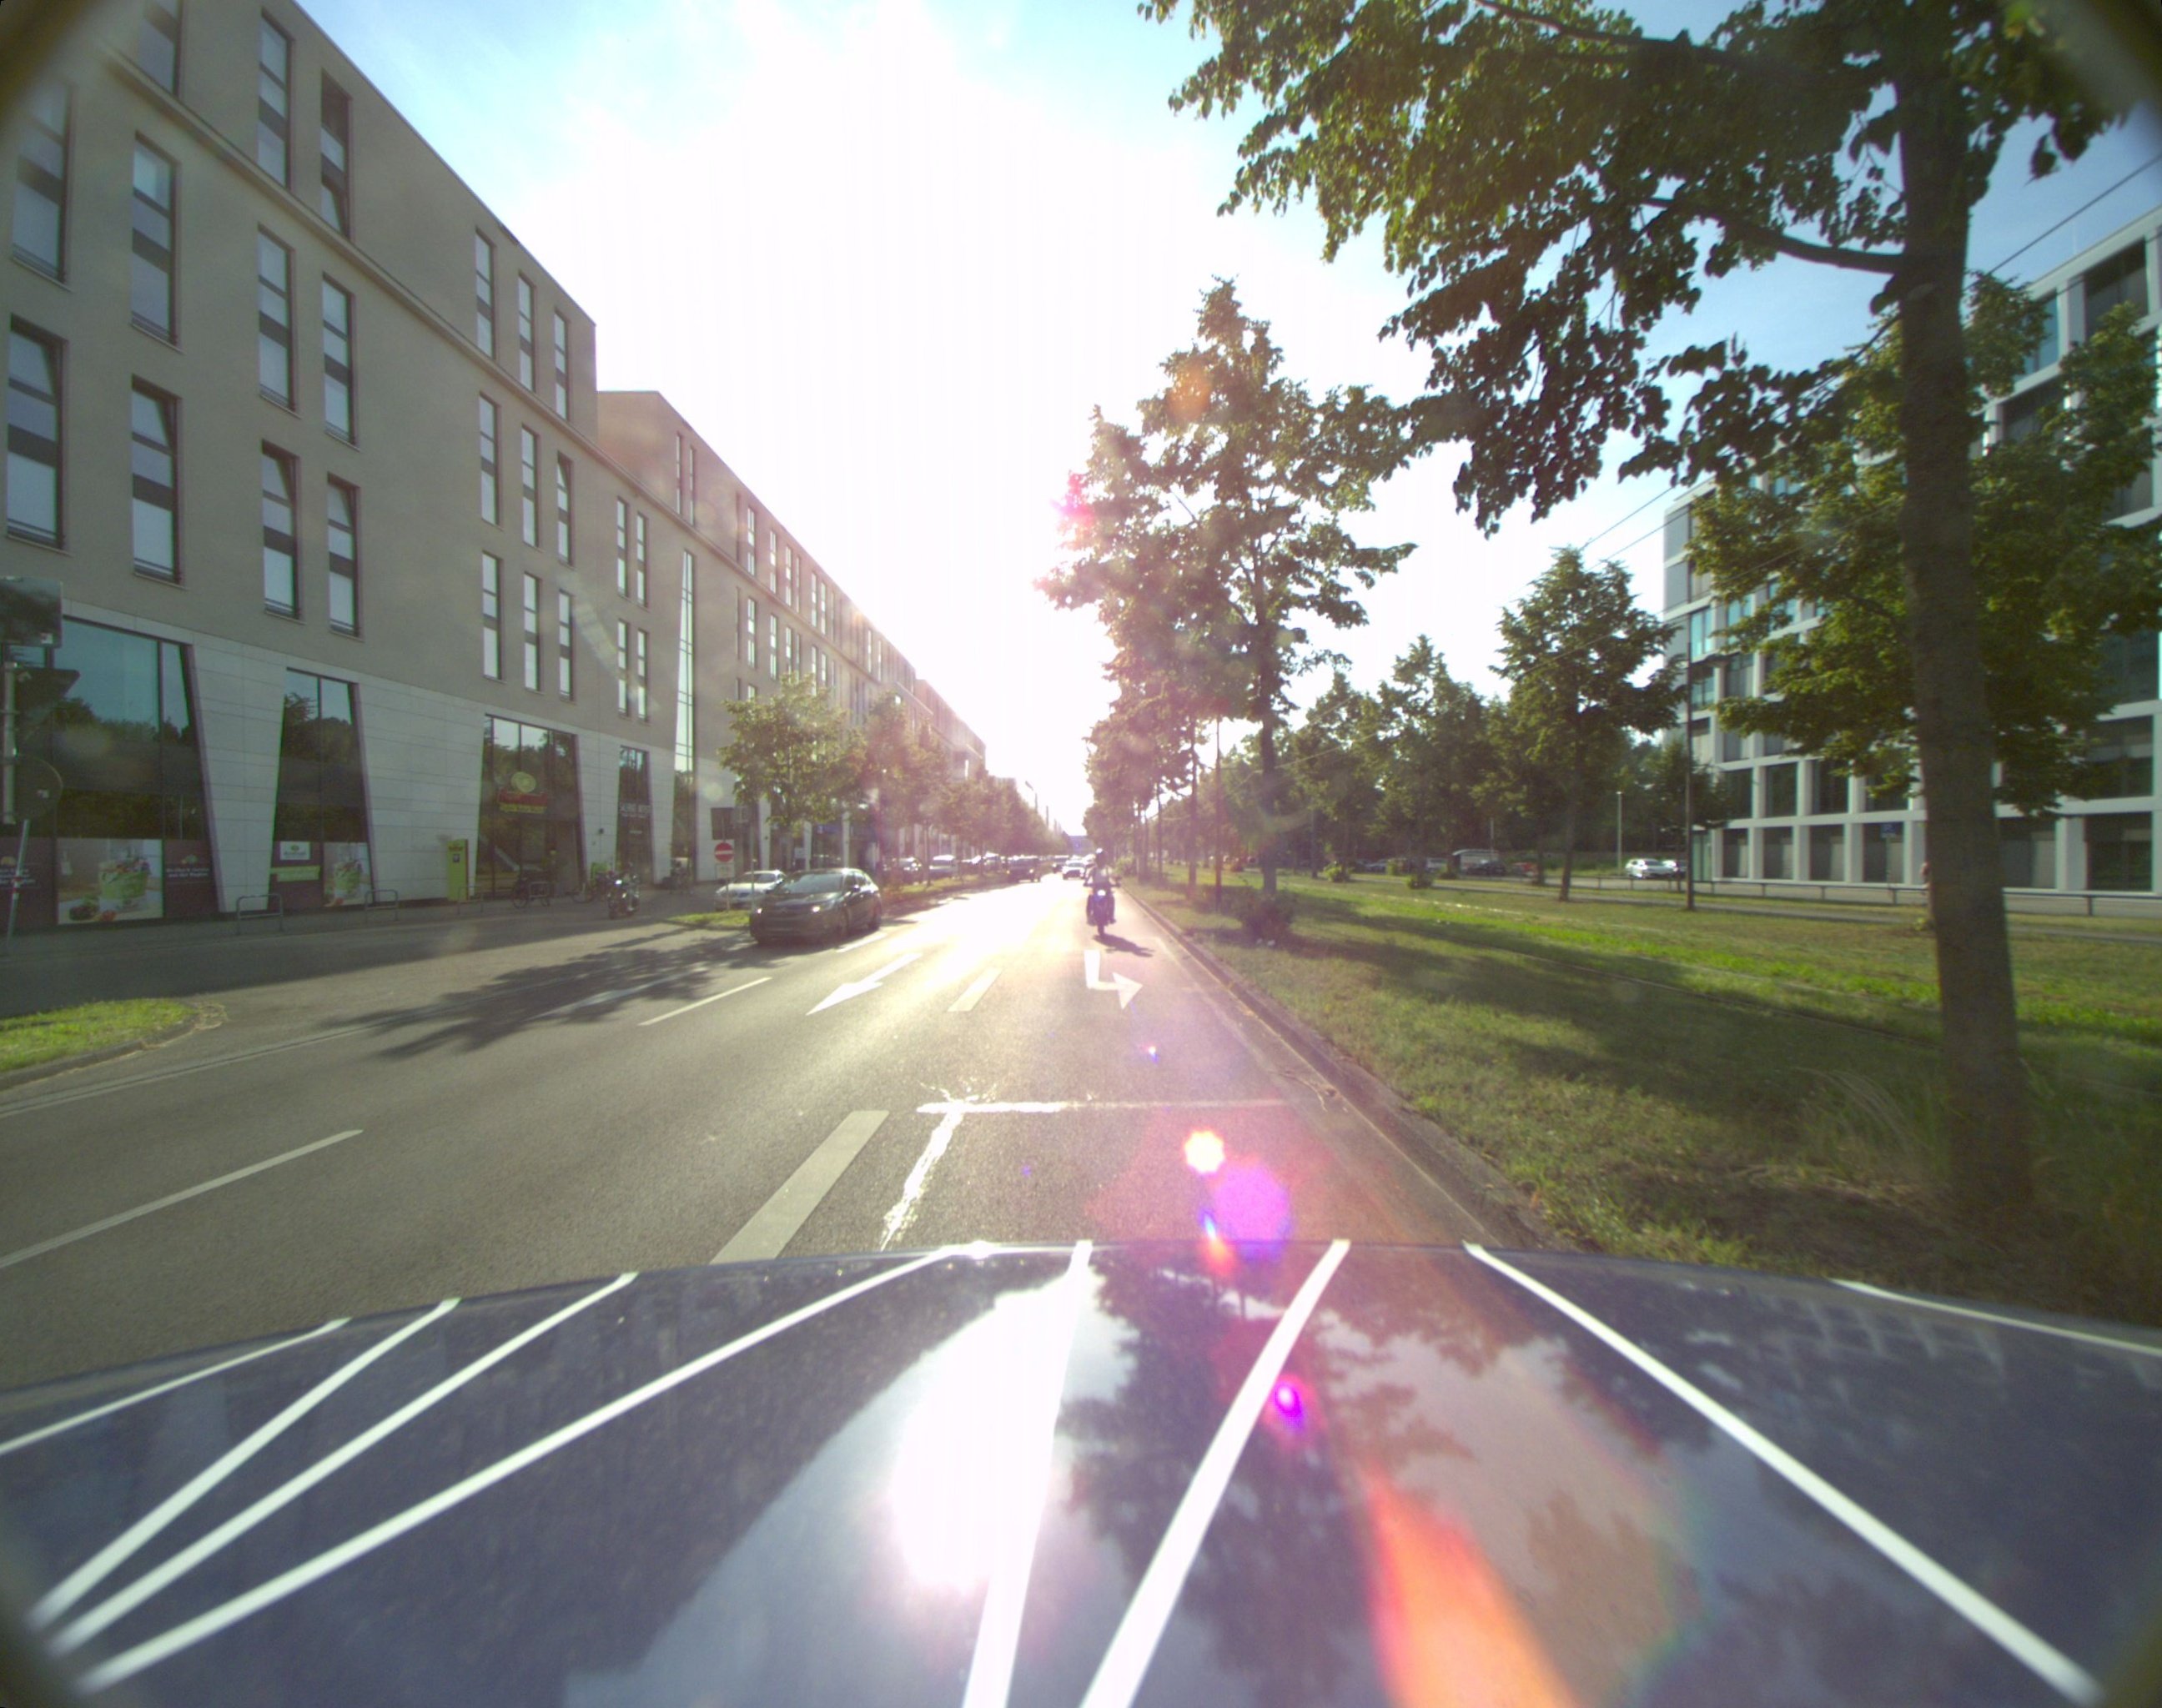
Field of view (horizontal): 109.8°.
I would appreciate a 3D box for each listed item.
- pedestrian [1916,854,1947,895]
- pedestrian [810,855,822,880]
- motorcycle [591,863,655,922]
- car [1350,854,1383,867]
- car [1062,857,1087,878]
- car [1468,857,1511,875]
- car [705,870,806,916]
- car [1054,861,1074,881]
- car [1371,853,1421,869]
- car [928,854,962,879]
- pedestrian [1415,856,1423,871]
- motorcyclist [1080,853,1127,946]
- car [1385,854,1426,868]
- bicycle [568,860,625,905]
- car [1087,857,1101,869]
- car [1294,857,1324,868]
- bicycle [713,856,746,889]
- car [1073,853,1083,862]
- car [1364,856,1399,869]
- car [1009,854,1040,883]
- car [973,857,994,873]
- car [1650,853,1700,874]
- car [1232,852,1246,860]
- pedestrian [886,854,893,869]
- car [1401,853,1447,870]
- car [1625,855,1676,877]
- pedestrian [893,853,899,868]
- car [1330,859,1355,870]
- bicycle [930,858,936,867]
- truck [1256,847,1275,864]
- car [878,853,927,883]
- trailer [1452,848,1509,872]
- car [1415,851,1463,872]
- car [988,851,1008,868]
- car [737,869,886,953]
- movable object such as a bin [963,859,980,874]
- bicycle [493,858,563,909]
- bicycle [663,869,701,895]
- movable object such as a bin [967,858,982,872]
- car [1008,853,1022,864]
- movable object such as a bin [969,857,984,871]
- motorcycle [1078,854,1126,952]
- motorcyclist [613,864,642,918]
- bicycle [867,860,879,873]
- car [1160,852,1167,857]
[{"bbox_3d":[36.673,0.859,32.775,0.569,1.718,0.691,-2,1,1],"label":"pedestrian"},{"bbox_3d":[-18.955,0.993,54.415,0.538,1.753,0.646,-2,1,1],"label":"pedestrian"},{"bbox_3d":[-13.824,1.122,22.989,0.703,1.608,2.011,3,1,-1],"label":"motorcycle"},{"bbox_3d":[37.628,0.849,100.216,3.865,1.477,1.744,-2,1,9],"label":"car"},{"bbox_3d":[-0.521,1.045,58.894,1.756,1.427,4.034,-2,1,-2],"label":"car"},{"bbox_3d":[36.472,1.059,68.004,1.684,1.385,3.760,-2,1,-2],"label":"car"},{"bbox_3d":[-10.932,1.272,25.847,1.712,1.235,3.905,-2,1,0],"label":"car"},{"bbox_3d":[-1.780,1.827,82.083,1.909,2.002,4.000,-2,1,1],"label":"car"},{"bbox_3d":[37.494,0.815,90.550,5.071,1.725,1.886,-2,1,3],"label":"car"},{"bbox_3d":[-10.479,0.929,58.719,1.832,1.702,4.295,-2,1,-1],"label":"car"},{"bbox_3d":[34.734,0.970,78.052,0.523,1.472,0.568,-2,1,0],"label":"pedestrian"},{"bbox_3d":[0.425,0.853,14.679,0.814,1.700,0.843,-2,1,0],"label":"motorcyclist"},{"bbox_3d":[37.604,0.802,88.076,3.996,1.551,1.856,-2,1,3],"label":"car"},{"bbox_3d":[-18.090,1.023,28.429,0.557,1.558,2.212,-2,1,2],"label":"bicycle"},{"bbox_3d":[1.691,1.149,98.406,1.739,1.499,3.999,-2,1,1],"label":"car"},{"bbox_3d":[31.517,1.107,105.116,1.689,1.427,4.026,-3,1,-28],"label":"car"},{"bbox_3d":[-18.128,0.943,39.200,0.557,1.610,2.212,-2,1,2],"label":"bicycle"},{"bbox_3d":[-0.620,0.706,145.563,1.840,1.521,4.327,-2,1,1],"label":"car"},{"bbox_3d":[36.812,1.007,93.162,3.655,1.420,1.809,-2,1,3],"label":"car"},{"bbox_3d":[-4.070,1.004,55.394,1.803,1.881,4.820,-2,1,1],"label":"car"},{"bbox_3d":[-10.301,1.134,80.670,1.735,1.620,4.849,-1,1,-2],"label":"car"},{"bbox_3d":[48.940,0.797,62.662,1.687,1.548,4.003,-2,1,13],"label":"car"},{"bbox_3d":[28.993,0.397,139.726,1.835,1.423,4.474,-2,1,2],"label":"car"},{"bbox_3d":[-19.915,0.741,79.028,0.515,1.513,0.597,-2,1,0],"label":"pedestrian"},{"bbox_3d":[36.432,0.758,80.788,4.002,1.633,1.757,-2,1,1],"label":"car"},{"bbox_3d":[47.035,0.952,62.870,1.851,1.586,4.003,-2,1,12],"label":"car"},{"bbox_3d":[-19.283,0.685,79.064,0.540,1.565,0.514,-2,1,-14],"label":"pedestrian"},{"bbox_3d":[37.821,1.539,109.927,1.791,1.434,4.359,-2,1,-5],"label":"car"},{"bbox_3d":[-17.617,1.001,90.347,0.345,1.075,1.742,3,1,1],"label":"bicycle"},{"bbox_3d":[41.629,0.297,171.624,2.895,3.496,7.946,-2,1,5],"label":"truck"},{"bbox_3d":[-10.869,0.839,46.658,1.902,1.698,4.677,-2,0,-1],"label":"car"},{"bbox_3d":[37.731,0.584,71.822,4.374,2.042,1.758,-2,1,4],"label":"trailer"},{"bbox_3d":[36.530,0.718,77.599,4.002,1.936,1.757,-2,1,1],"label":"car"},{"bbox_3d":[-9.819,0.644,90.164,1.842,1.865,5.030,-2,1,-1],"label":"car"},{"bbox_3d":[-5.629,1.123,16.454,1.698,1.416,4.039,-2,1,0],"label":"car"},{"bbox_3d":[-9.795,1.079,67.916,1.281,1.284,1.178,-2,1,-2],"label":"movable object such as a bin"},{"bbox_3d":[-18.446,0.959,25.431,0.557,1.562,2.276,-2,1,2],"label":"bicycle"},{"bbox_3d":[-18.059,1.258,34.437,0.635,1.077,1.904,0,0,1],"label":"bicycle"},{"bbox_3d":[-9.685,0.991,69.141,1.281,1.229,1.191,-2,1,-2],"label":"movable object such as a bin"},{"bbox_3d":[-9.070,0.548,104.682,1.620,1.404,4.166,-2,1,-2],"label":"car"},{"bbox_3d":[-9.694,0.944,70.455,1.281,1.229,1.191,-2,1,-2],"label":"movable object such as a bin"},{"bbox_3d":[0.366,0.864,14.724,0.798,1.659,2.634,-2,1,0],"label":"motorcycle"},{"bbox_3d":[-13.814,1.126,23.160,0.625,1.631,0.417,1,1,-3],"label":"motorcyclist"},{"bbox_3d":[-17.604,1.043,64.263,0.493,1.110,1.945,0,1,1],"label":"bicycle"},{"bbox_3d":[25.670,0.080,235.726,1.686,1.467,4.812,2,1,1],"label":"car"}]
